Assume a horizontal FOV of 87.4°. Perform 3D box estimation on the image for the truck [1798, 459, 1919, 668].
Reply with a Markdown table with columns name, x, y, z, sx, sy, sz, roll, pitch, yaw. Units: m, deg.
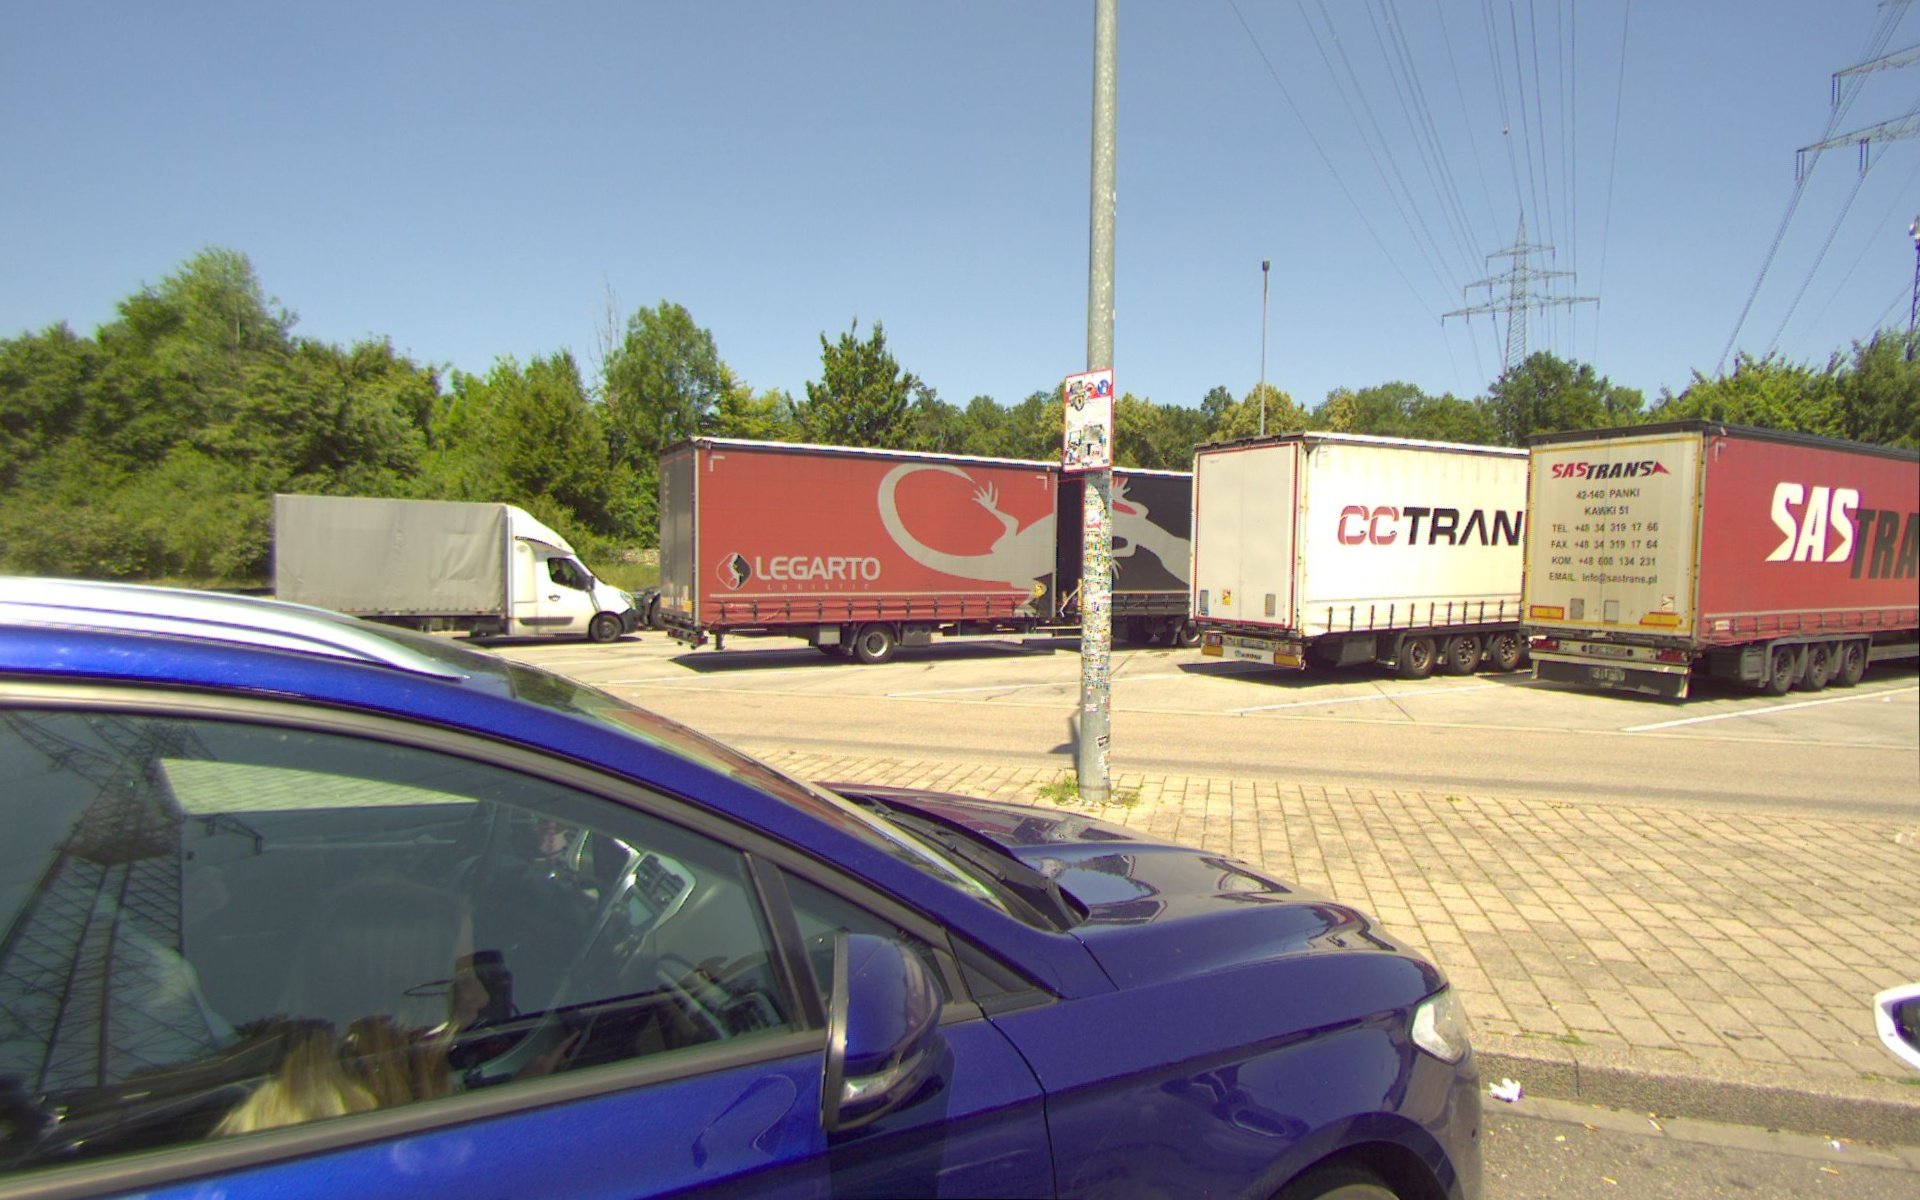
| name | x | y | z | sx | sy | sz | roll | pitch | yaw |
| --- | --- | --- | --- | --- | --- | --- | --- | --- | --- |
| truck | 21.432 | -0.719 | 22.074 | 5.824 | 4.189 | 2.792 | 0 | 0 | -30 |

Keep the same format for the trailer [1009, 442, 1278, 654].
| name | x | y | z | sx | sy | sz | roll | pitch | yaw |
| --- | --- | --- | --- | --- | --- | --- | --- | --- | --- |
| trailer | 4.448 | -1.098 | 24.047 | 6.076 | 4.505 | 2.665 | 0 | 1 | -30 |

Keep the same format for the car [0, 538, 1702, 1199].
| name | x | y | z | sx | sy | sz | roll | pitch | yaw |
| --- | --- | --- | --- | --- | --- | --- | --- | --- | --- |
| car | -0.973 | 0.673 | 1.462 | 4.362 | 1.437 | 1.731 | 1 | 0 | -30 |

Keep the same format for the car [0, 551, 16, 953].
| name | x | y | z | sx | sy | sz | roll | pitch | yaw |
| --- | --- | --- | --- | --- | --- | --- | --- | --- | --- |
| car | -4.354 | 0.509 | 2.203 | 3.077 | 1.378 | 1.334 | 1 | 0 | -30 |

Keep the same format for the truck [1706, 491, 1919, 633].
| name | x | y | z | sx | sy | sz | roll | pitch | yaw |
| --- | --- | --- | --- | --- | --- | --- | --- | --- | --- |
| truck | 28.513 | -1.067 | 29.915 | 9.851 | 4.087 | 2.242 | 2 | 1 | 14 |

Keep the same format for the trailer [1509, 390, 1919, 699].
| name | x | y | z | sx | sy | sz | roll | pitch | yaw |
| --- | --- | --- | --- | --- | --- | --- | --- | --- | --- |
| trailer | 15.250 | -0.735 | 18.438 | 13.046 | 4.276 | 2.786 | 0 | 0 | -31 |

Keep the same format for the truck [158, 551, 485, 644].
| name | x | y | z | sx | sy | sz | roll | pitch | yaw |
| --- | --- | --- | --- | --- | --- | --- | --- | --- | --- |
| truck | -15.319 | -0.038 | 24.618 | 6.538 | 2.040 | 1.984 | 0 | 0 | -31 |

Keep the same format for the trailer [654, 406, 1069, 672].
| name | x | y | z | sx | sy | sz | roll | pitch | yaw |
| --- | --- | --- | --- | --- | --- | --- | --- | --- | --- |
| trailer | -1.805 | -1.025 | 20.225 | 7.963 | 4.510 | 2.648 | 0 | 0 | -31 |

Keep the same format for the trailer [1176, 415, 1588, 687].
| name | x | y | z | sx | sy | sz | roll | pitch | yaw |
| --- | --- | --- | --- | --- | --- | --- | --- | --- | --- |
| trailer | 8.081 | -0.765 | 18.828 | 8.189 | 4.208 | 2.741 | 0 | 1 | -30 |

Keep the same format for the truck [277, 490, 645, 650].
| name | x | y | z | sx | sy | sz | roll | pitch | yaw |
| --- | --- | --- | --- | --- | --- | --- | --- | --- | --- |
| truck | -11.047 | -0.584 | 22.784 | 7.171 | 3.194 | 2.160 | 0 | 1 | -30 |
